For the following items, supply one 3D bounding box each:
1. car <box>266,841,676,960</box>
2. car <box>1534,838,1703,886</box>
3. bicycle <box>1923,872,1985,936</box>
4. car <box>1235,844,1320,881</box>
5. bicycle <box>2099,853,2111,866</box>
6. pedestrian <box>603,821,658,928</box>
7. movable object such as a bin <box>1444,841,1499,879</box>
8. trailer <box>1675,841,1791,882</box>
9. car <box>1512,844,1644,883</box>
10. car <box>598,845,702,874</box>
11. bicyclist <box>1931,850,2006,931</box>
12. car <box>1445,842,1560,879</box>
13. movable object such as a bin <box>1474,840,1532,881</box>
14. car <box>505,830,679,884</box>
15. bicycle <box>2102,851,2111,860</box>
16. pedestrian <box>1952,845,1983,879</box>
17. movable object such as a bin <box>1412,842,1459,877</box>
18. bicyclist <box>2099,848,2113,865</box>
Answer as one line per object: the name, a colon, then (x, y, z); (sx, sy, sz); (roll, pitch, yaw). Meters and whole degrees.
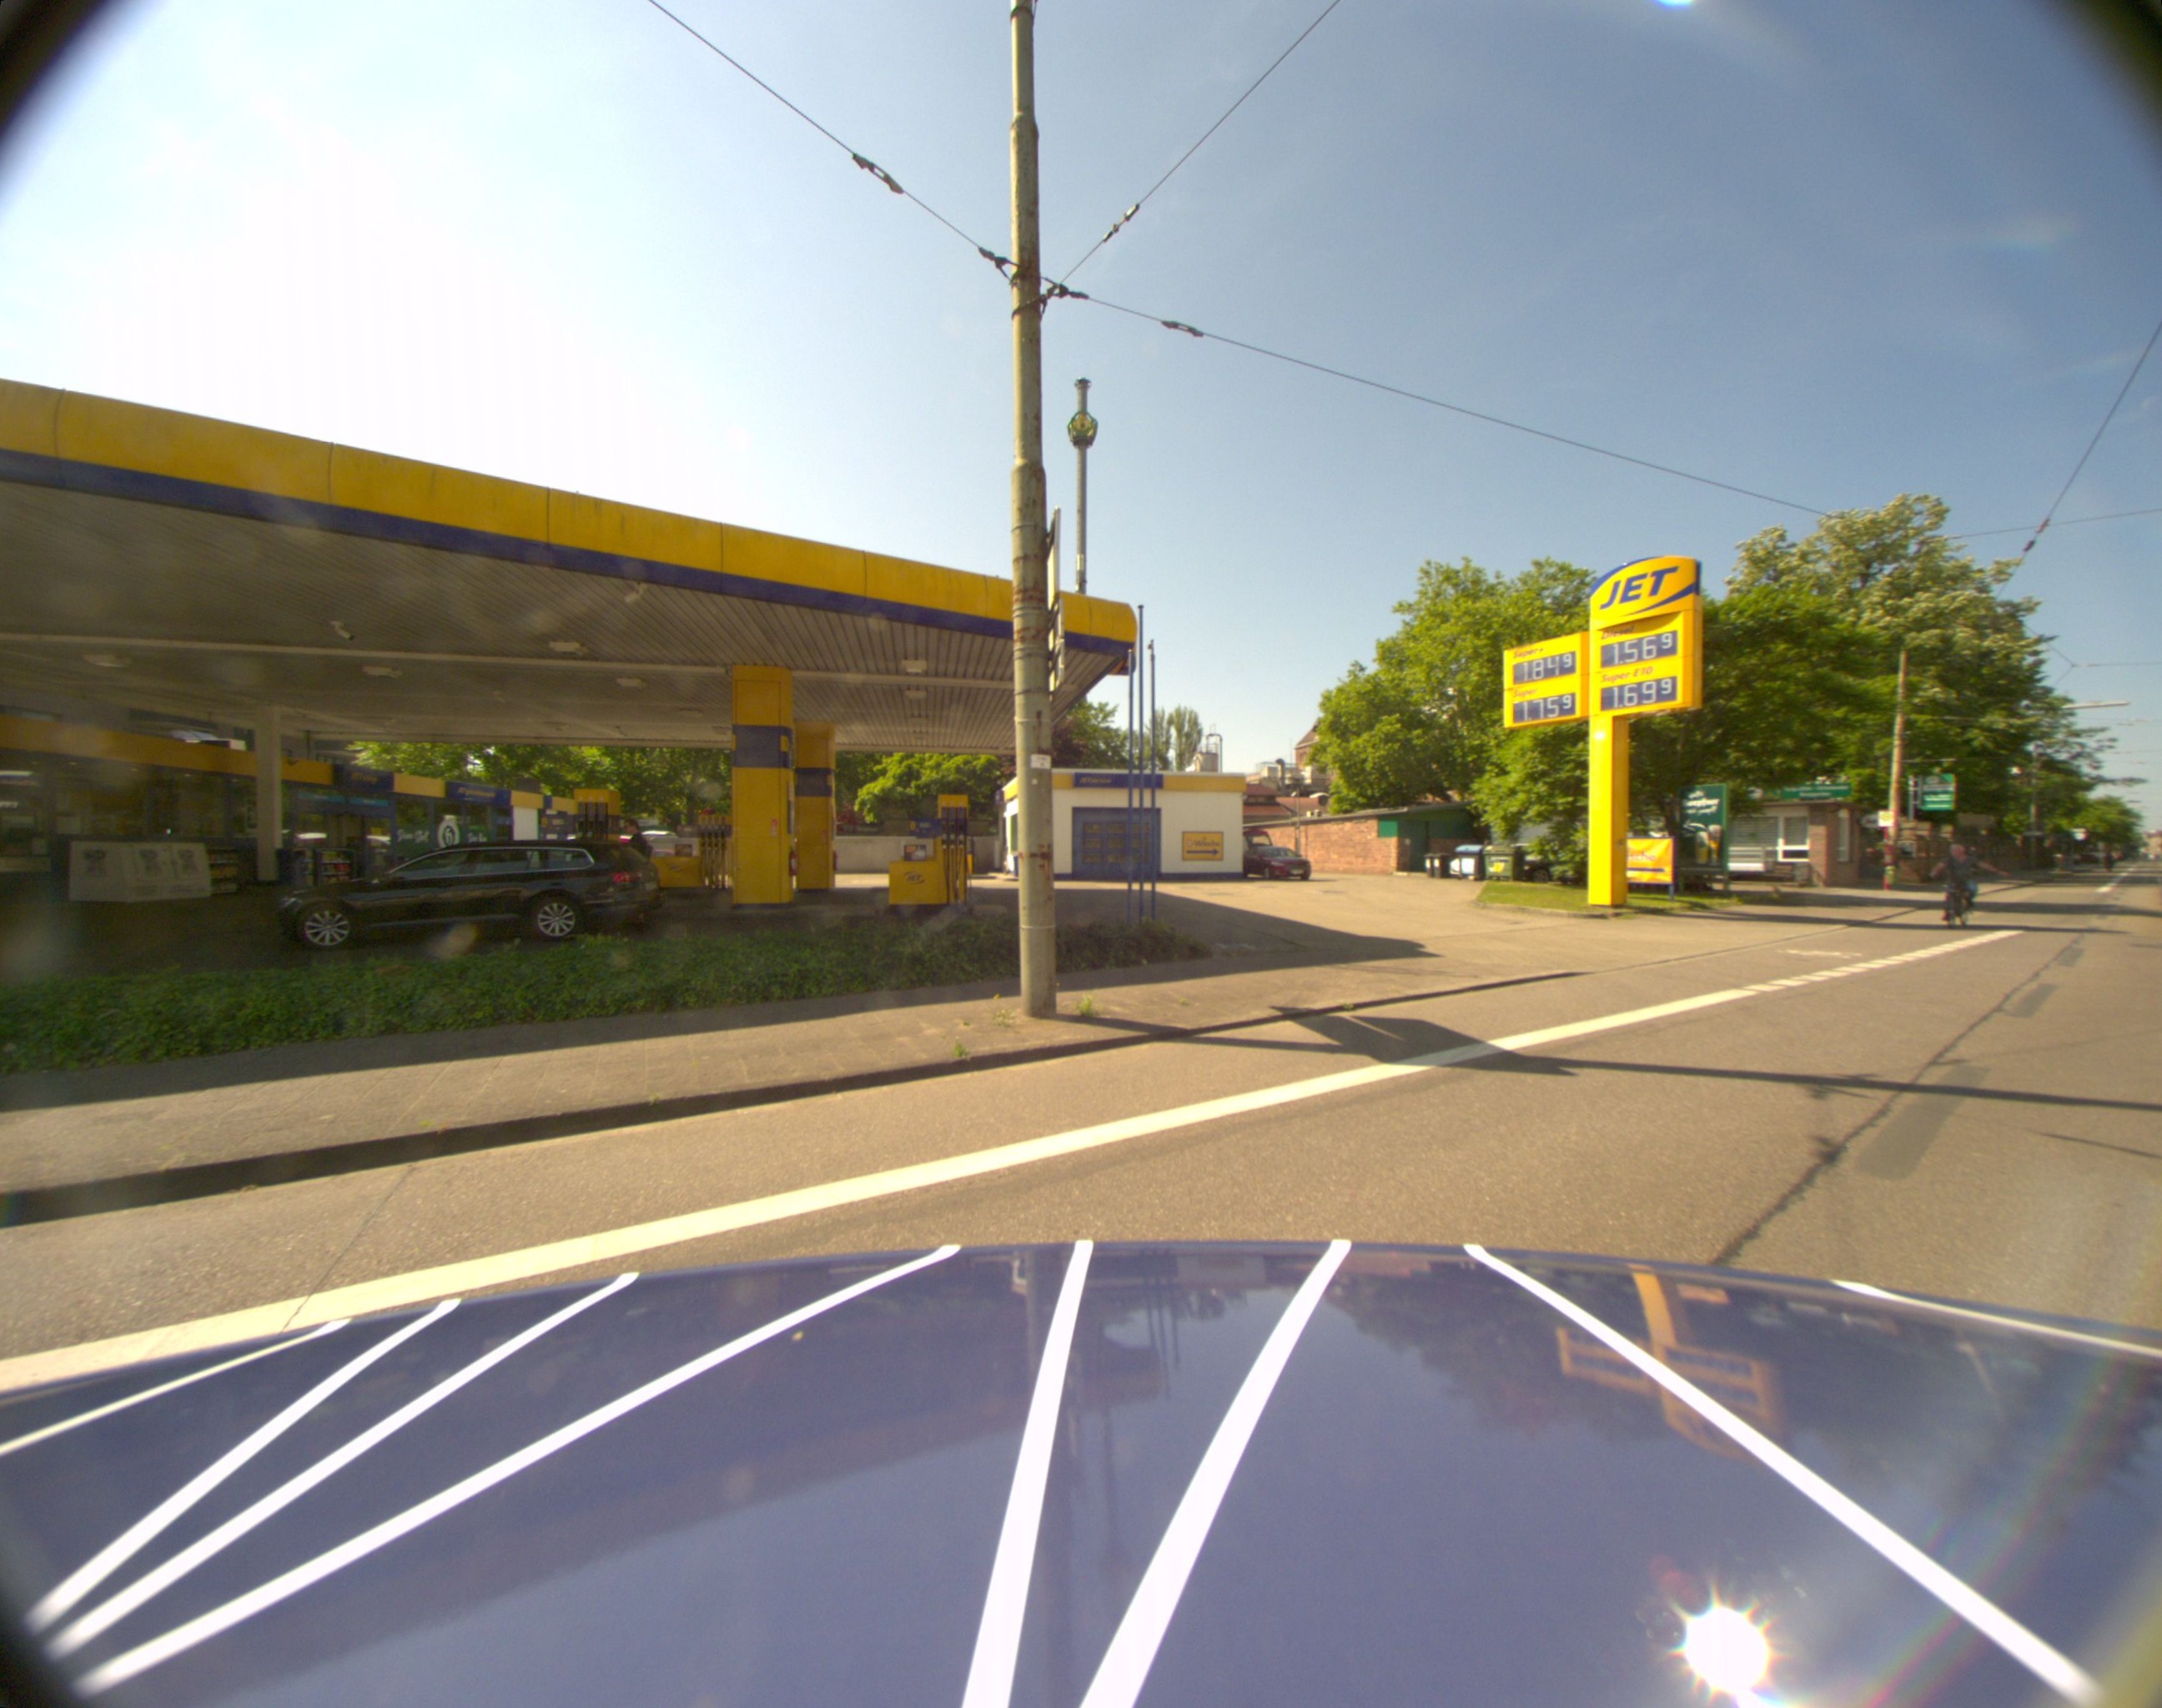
car: (-8.808, 0.601, 11.437); (4.411, 1.448, 1.758); (-1, 4, -12)
car: (19.613, 0.257, 27.939); (4.653, 1.631, 2.021); (1, 1, 8)
bicycle: (18.137, 0.997, 15.780); (2.127, 1.190, 0.610); (-1, 0, -35)
car: (8.498, 0.301, 33.271); (1.893, 1.452, 4.551); (-2, 1, -10)
bicycle: (91.949, 0.488, 68.227); (2.058, 1.099, 0.592); (0, 1, -35)
pedestrian: (-7.588, 0.321, 12.790); (0.746, 1.716, 0.856); (-1, 2, -33)
movable object such as a bin: (15.846, 0.212, 30.854); (1.381, 1.494, 1.419); (0, 1, -20)
trailer: (26.999, 0.261, 31.541); (1.726, 1.594, 3.275); (0, 1, -34)
car: (19.839, 0.342, 30.509); (3.994, 1.465, 1.848); (1, 1, 8)
car: (-21.098, 0.256, 37.347); (4.134, 1.352, 1.759); (0, 1, -13)
bicyclist: (18.297, 0.719, 15.668); (0.966, 1.586, 0.904); (0, 1, -35)
car: (18.376, 0.256, 33.292); (3.994, 1.548, 1.848); (0, 1, 8)
movable object such as a bin: (16.138, 0.232, 29.067); (1.382, 1.494, 1.418); (-1, 1, -33)
car: (-18.656, 0.088, 29.250); (5.310, 1.971, 1.758); (0, 1, -15)
bicycle: (131.128, 0.143, 97.137); (2.017, 1.148, 0.663); (0, 1, -35)
pedestrian: (49.043, 0.431, 42.033); (1.187, 1.805, 0.977); (0, 0, -35)
movable object such as a bin: (15.240, 0.232, 32.741); (1.331, 1.493, 1.329); (-1, 0, -7)
bicyclist: (92.162, 0.209, 68.320); (0.949, 1.522, 0.740); (-1, 2, -35)
